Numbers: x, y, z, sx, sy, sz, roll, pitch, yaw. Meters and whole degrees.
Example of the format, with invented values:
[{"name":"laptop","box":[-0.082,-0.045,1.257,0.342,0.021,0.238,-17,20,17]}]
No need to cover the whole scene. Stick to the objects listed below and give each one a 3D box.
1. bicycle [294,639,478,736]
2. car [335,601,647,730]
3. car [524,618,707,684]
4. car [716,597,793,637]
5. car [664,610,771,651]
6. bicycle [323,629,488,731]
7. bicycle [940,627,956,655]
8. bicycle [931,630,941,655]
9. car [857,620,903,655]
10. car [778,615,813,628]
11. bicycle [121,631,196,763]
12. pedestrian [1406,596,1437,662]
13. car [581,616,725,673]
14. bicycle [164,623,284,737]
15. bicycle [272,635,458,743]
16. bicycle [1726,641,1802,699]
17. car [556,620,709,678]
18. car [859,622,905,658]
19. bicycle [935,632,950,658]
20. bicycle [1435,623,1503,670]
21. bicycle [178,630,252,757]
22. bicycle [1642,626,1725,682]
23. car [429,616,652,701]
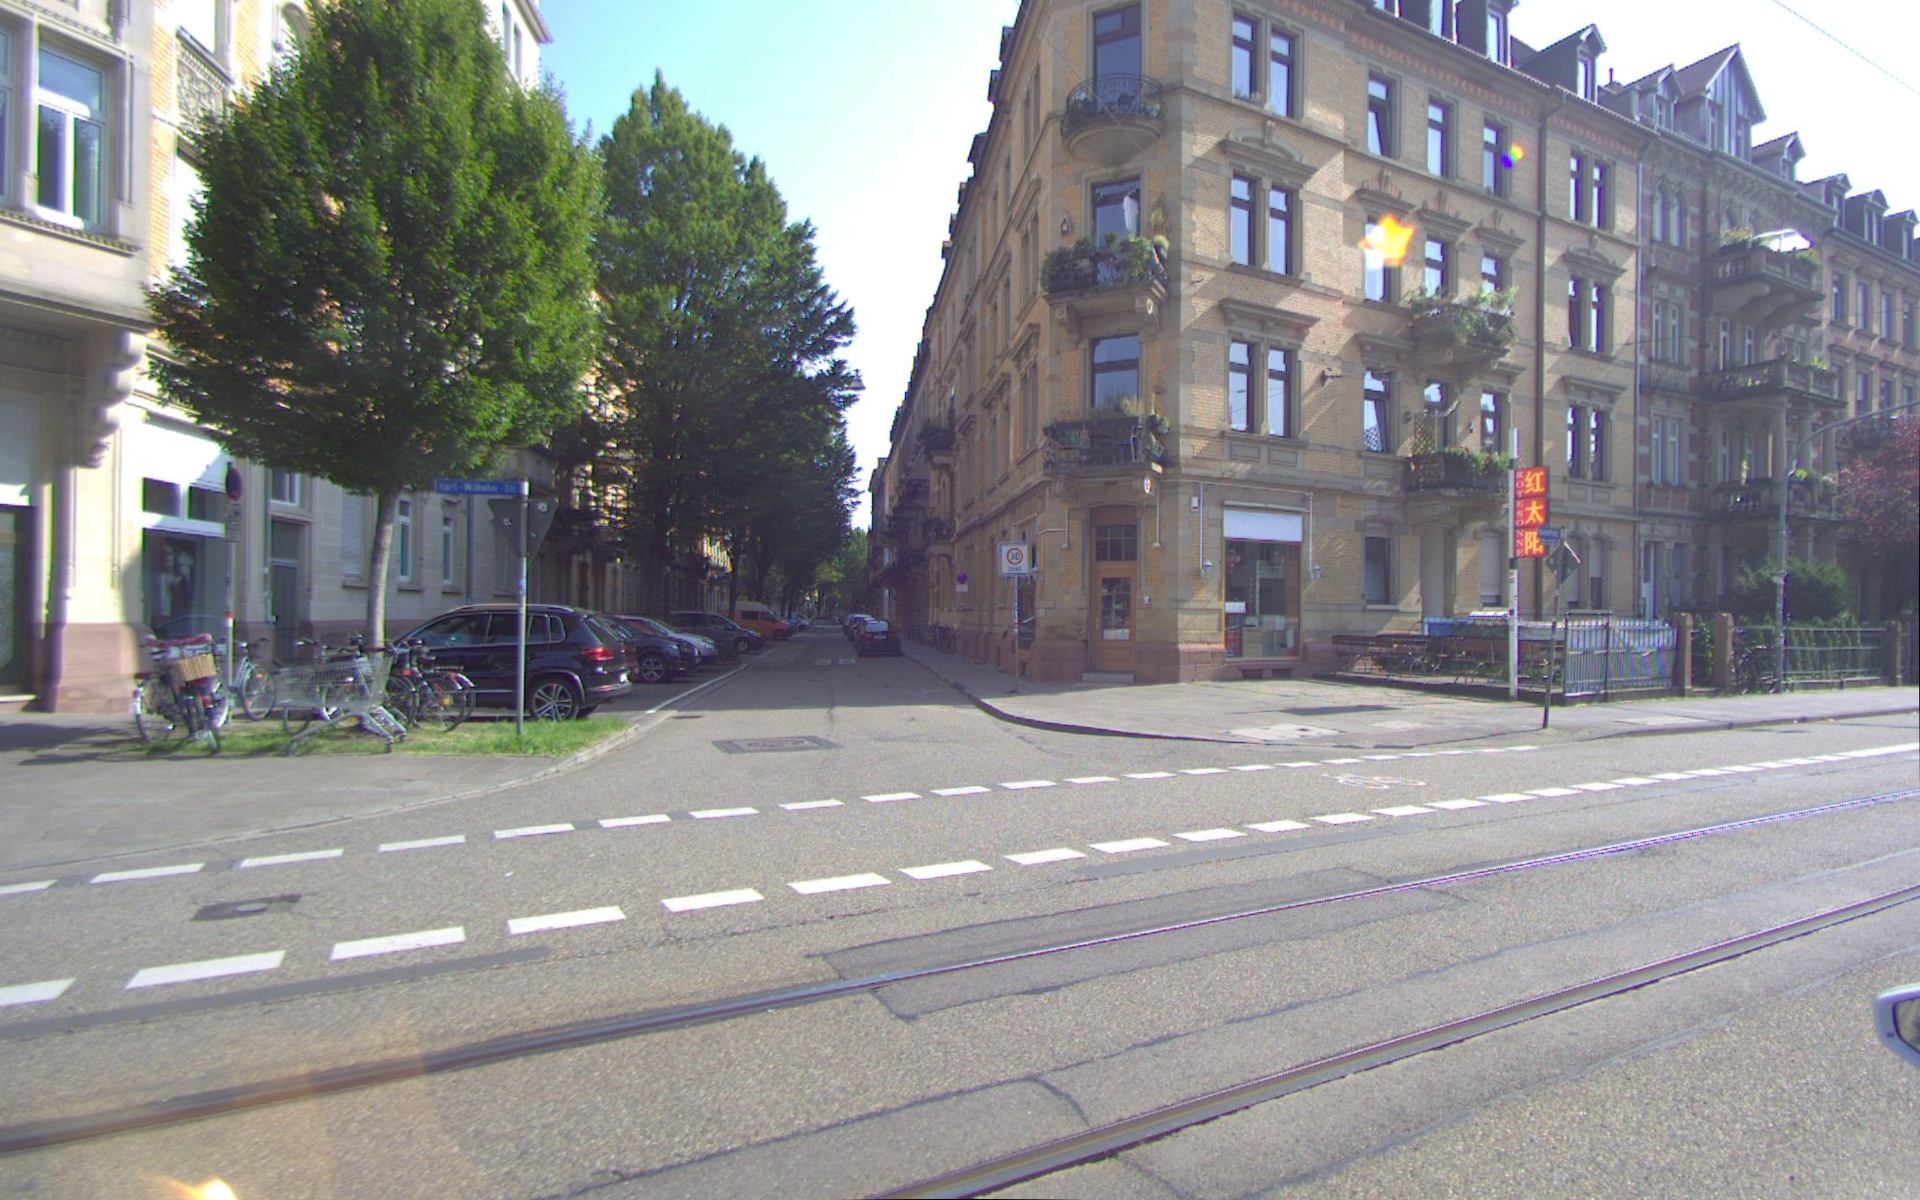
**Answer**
[{"name":"bicycle","box":[-6.821,1.032,12.001,1.804,1.104,0.542,1,-1,-11]},{"name":"car","box":[-6.633,0.916,14.581,3.699,1.682,1.765,1,1,-8]},{"name":"car","box":[-8.229,1.221,24.302,3.873,1.474,1.766,1,-1,-9]},{"name":"car","box":[-13.508,1.134,66.327,4.777,2.557,1.933,1,-1,-6]},{"name":"car","box":[-10.621,1.339,44.197,4.460,1.578,1.764,3,-1,-13]},{"name":"bicycle","box":[-7.066,1.002,12.872,1.744,1.245,0.541,1,-1,-16]},{"name":"bicycle","box":[-0.488,1.594,39.352,0.409,1.074,1.360,1,-1,-10]},{"name":"bicycle","box":[-1.046,1.843,43.873,0.409,1.074,1.361,1,-1,-2]},{"name":"car","box":[-3.743,1.702,46.321,1.963,1.514,3.996,1,-1,-7]},{"name":"car","box":[-22.246,2.901,135.764,4.459,1.578,1.764,1,-1,-13]},{"name":"bicycle","box":[-8.182,0.931,10.258,0.538,1.213,1.832,1,-1,-39]},{"name":"pedestrian","box":[12.107,0.761,26.337,0.576,1.689,0.545,1,-1,-40]},{"name":"car","box":[-8.967,1.299,29.639,3.820,1.627,1.765,1,-1,-9]},{"name":"bicycle","box":[-8.848,0.918,12.154,0.534,1.273,1.768,1,-1,-14]},{"name":"bicycle","box":[-6.710,0.995,11.392,1.741,1.175,0.483,1,-1,-10]},{"name":"bicycle","box":[16.637,1.427,20.772,1.979,1.122,0.506,1,-1,-29]},{"name":"car","box":[-8.761,1.309,27.134,3.701,1.474,1.765,1,-1,-11]},{"name":"car","box":[-3.269,1.614,41.402,1.710,1.387,3.996,1,-1,-7]},{"name":"bicycle","box":[-0.732,1.877,42.304,0.409,1.074,1.360,1,-1,-10]},{"name":"bicycle","box":[12.252,1.106,24.224,0.412,1.074,1.475,1,-1,-31]},{"name":"bicycle","box":[-7.842,0.923,10.545,0.538,1.197,1.842,1,-1,-39]},{"name":"bicycle","box":[15.253,1.122,21.213,0.412,1.074,1.350,1,1,-31]},{"name":"car","box":[-8.031,1.103,19.558,3.701,1.546,1.765,1,-1,-11]}]
